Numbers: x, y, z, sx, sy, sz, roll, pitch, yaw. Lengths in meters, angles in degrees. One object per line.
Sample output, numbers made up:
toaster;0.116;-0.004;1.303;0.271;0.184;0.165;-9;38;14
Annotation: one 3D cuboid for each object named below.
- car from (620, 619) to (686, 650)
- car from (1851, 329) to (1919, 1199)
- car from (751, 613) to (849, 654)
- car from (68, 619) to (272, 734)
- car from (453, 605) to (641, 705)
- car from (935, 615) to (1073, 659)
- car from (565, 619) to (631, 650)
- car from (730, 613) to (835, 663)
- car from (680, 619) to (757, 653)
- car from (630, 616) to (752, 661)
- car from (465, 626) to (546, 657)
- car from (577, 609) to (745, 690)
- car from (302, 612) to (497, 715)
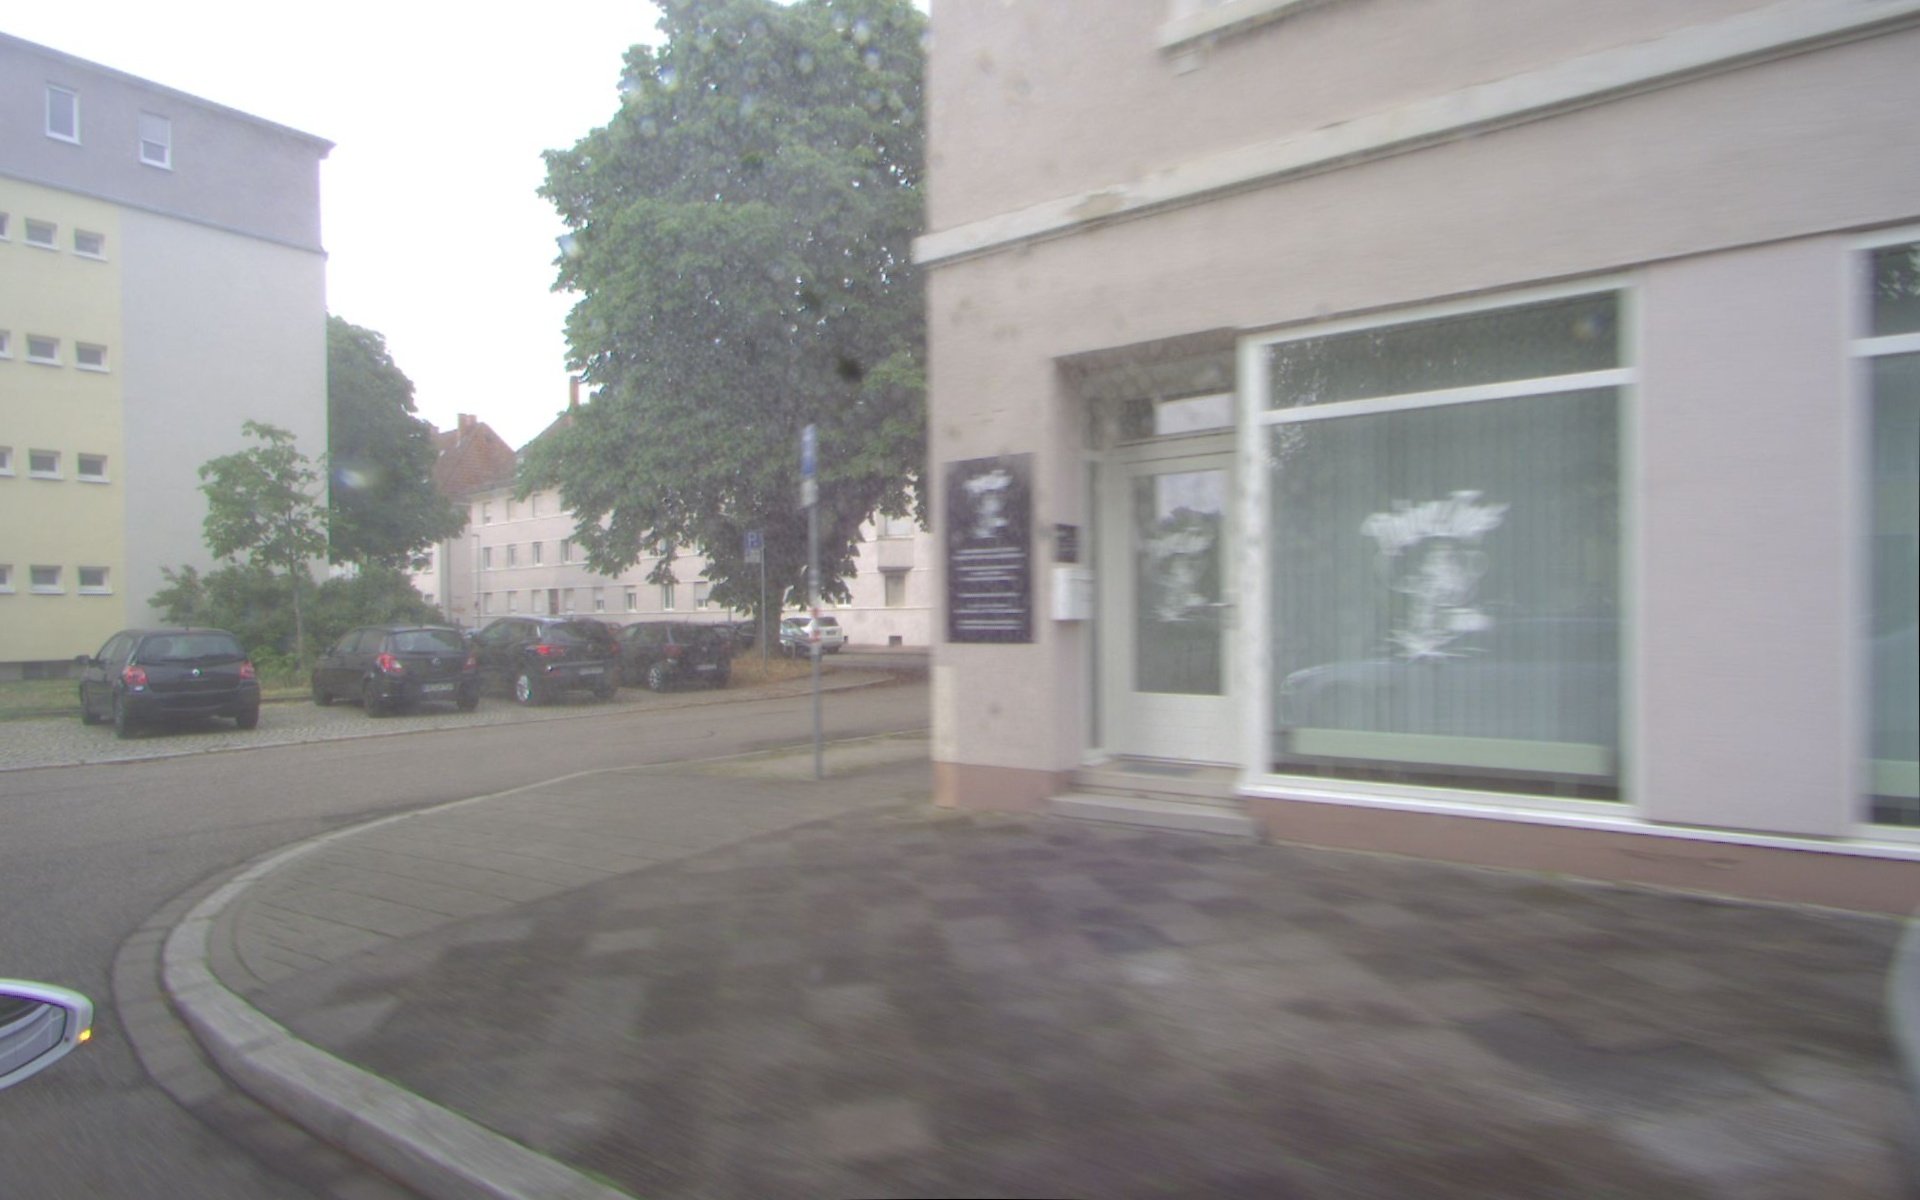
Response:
car;-15.635;1.753;50.969;3.655;1.493;1.559;-2;-1;42
car;3.849;0.436;0.435;4.944;2.022;1.873;-1;1;34
car;-7.010;1.438;43.754;4.235;1.696;1.835;-1;0;38
car;-12.210;1.046;15.367;4.510;1.483;1.825;0;-1;43
car;-8.054;0.972;19.365;4.024;1.720;1.900;0;-1;43
car;1.535;1.302;36.197;4.888;1.439;1.738;-1;0;38
car;-19.601;1.865;54.144;3.781;1.545;1.689;-1;0;40
car;-5.796;1.238;32.497;3.552;1.512;1.517;-2;-4;42
car;-11.378;1.680;47.030;3.826;1.497;1.560;-2;-1;41
car;-9.711;1.391;35.936;4.778;1.482;1.860;-2;-4;40
car;-20.014;1.827;44.051;3.968;1.274;1.690;-1;-3;40
car;-6.601;1.037;21.966;3.800;1.598;1.815;-2;-1;42
car;-10.036;1.018;17.774;4.310;1.586;1.825;0;-1;43
